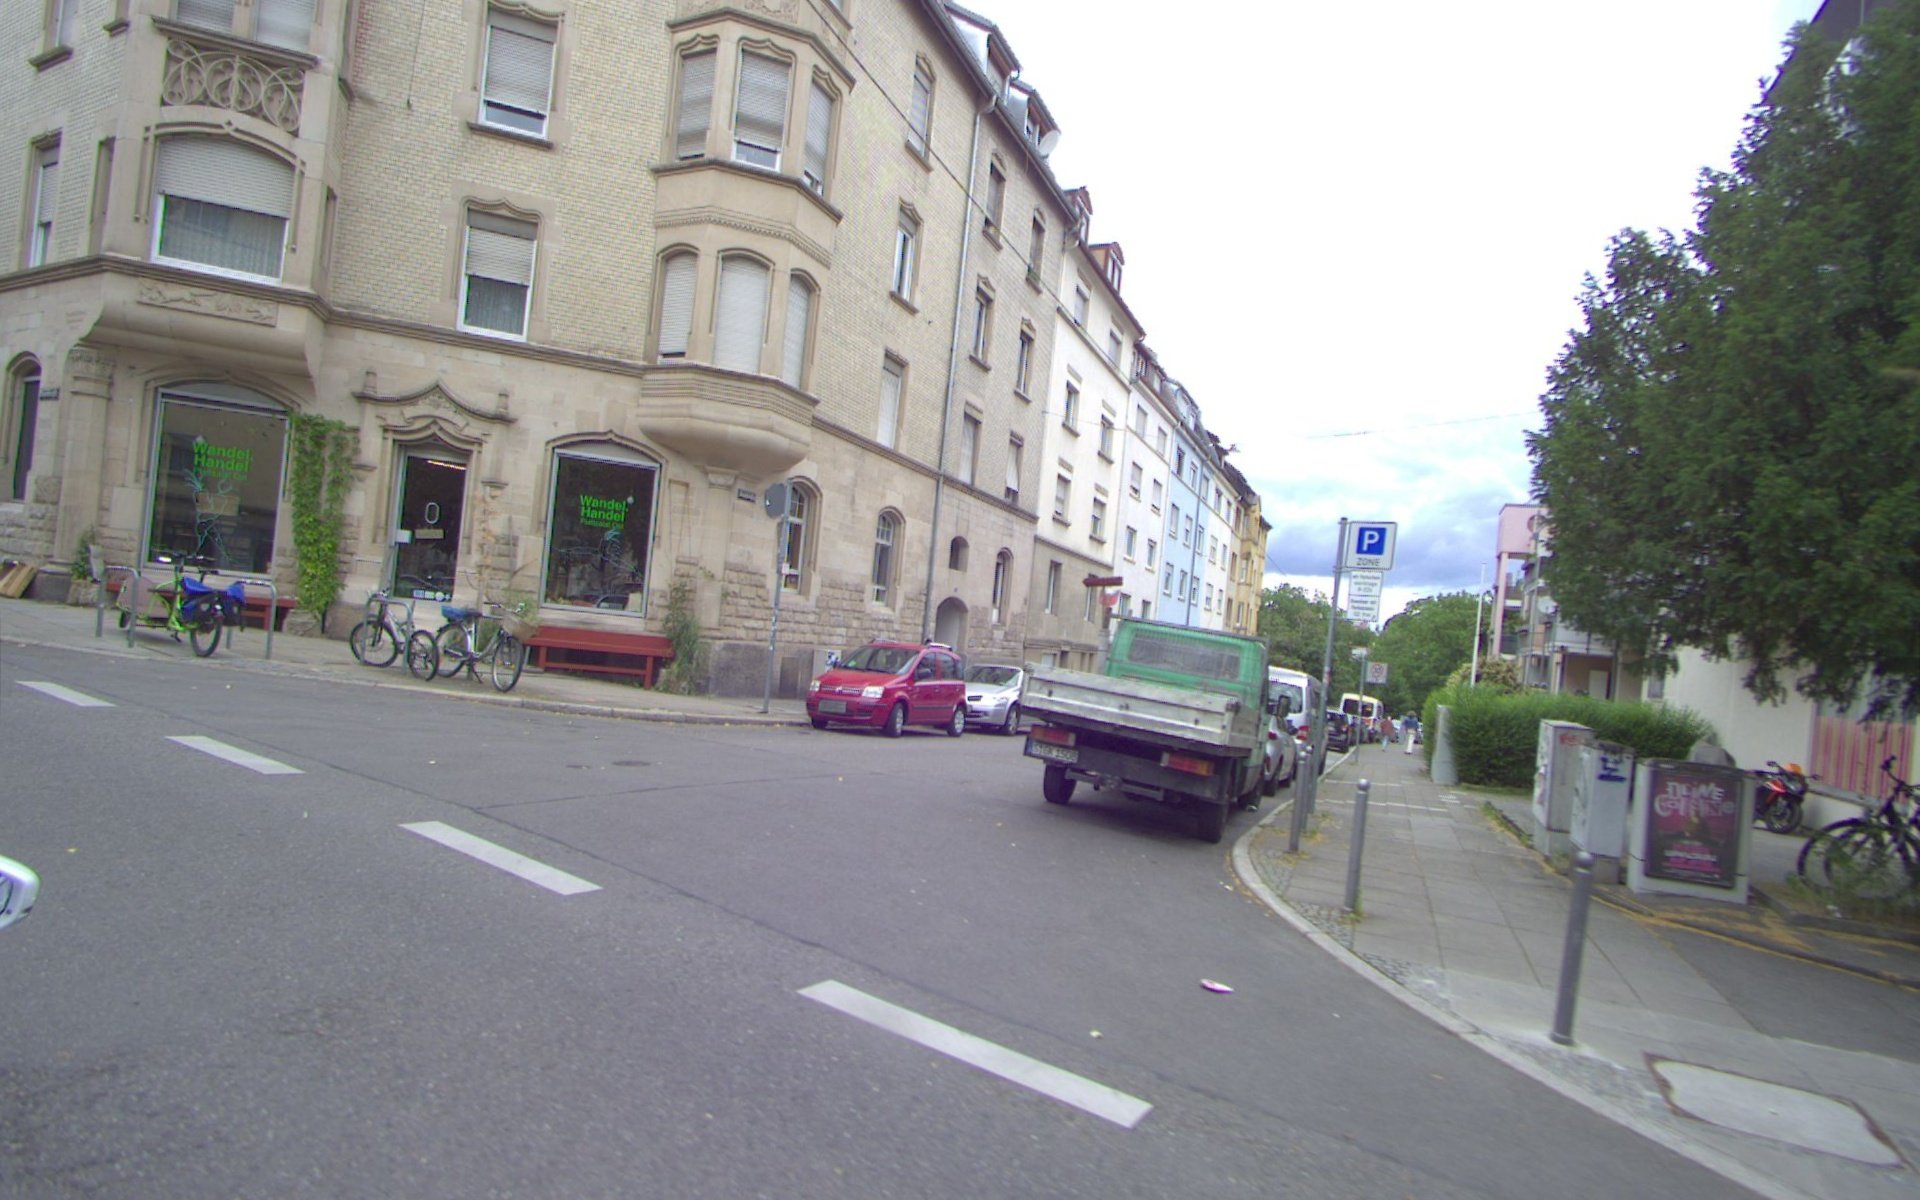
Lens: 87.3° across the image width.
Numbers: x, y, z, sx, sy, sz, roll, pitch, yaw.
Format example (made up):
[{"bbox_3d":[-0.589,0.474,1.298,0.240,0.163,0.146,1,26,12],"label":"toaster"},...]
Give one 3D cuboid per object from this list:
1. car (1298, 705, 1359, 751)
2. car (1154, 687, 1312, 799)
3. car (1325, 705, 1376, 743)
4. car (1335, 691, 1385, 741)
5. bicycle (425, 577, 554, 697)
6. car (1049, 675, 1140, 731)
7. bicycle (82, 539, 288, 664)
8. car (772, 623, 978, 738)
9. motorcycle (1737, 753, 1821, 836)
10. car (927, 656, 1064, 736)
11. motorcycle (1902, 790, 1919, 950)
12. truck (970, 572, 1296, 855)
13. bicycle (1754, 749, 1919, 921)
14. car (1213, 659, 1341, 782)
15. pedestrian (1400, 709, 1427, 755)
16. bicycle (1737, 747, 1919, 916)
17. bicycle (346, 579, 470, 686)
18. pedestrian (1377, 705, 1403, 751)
[{"bbox_3d":[14.471,4.985,39.413,1.814,1.423,3.825,7,-3,25],"label":"car"},{"bbox_3d":[4.744,2.354,17.090,1.814,1.423,3.825,7,-3,26],"label":"car"},{"bbox_3d":[18.035,5.695,46.428,1.814,1.423,3.825,7,-3,25],"label":"car"},{"bbox_3d":[22.320,6.469,55.997,1.984,2.411,3.823,7,-3,28],"label":"car"},{"bbox_3d":[-6.117,0.459,13.035,1.803,1.177,0.447,13,4,30],"label":"bicycle"},{"bbox_3d":[3.871,2.940,28.611,1.536,1.352,3.387,4,-4,25],"label":"car"},{"bbox_3d":[-9.250,-0.006,11.958,2.930,1.142,0.880,6,-1,32],"label":"bicycle"},{"bbox_3d":[-1.294,1.364,16.722,1.832,1.499,3.372,7,-3,25],"label":"car"},{"bbox_3d":[13.706,3.228,16.884,0.561,1.126,1.802,7,-1,25],"label":"motorcycle"},{"bbox_3d":[0.810,1.993,20.765,1.536,1.352,3.387,4,-4,25],"label":"car"},{"bbox_3d":[7.715,2.030,6.815,1.772,1.119,0.570,6,-1,32],"label":"motorcycle"},{"bbox_3d":[2.335,1.236,11.555,2.338,2.156,5.584,8,-3,22],"label":"truck"},{"bbox_3d":[7.903,1.996,8.172,2.283,1.201,0.278,7,0,13],"label":"bicycle"},{"bbox_3d":[6.974,2.566,21.797,1.849,2.150,4.479,7,-3,26],"label":"car"},{"bbox_3d":[18.899,5.484,41.907,0.816,1.792,0.845,7,-1,25],"label":"pedestrian"},{"bbox_3d":[7.962,2.012,8.441,2.283,1.201,0.278,7,0,13],"label":"bicycle"},{"bbox_3d":[-6.951,0.391,12.629,1.803,1.070,0.350,8,-2,31],"label":"bicycle"},{"bbox_3d":[18.103,5.393,42.333,0.816,1.792,0.845,7,-1,25],"label":"pedestrian"}]
